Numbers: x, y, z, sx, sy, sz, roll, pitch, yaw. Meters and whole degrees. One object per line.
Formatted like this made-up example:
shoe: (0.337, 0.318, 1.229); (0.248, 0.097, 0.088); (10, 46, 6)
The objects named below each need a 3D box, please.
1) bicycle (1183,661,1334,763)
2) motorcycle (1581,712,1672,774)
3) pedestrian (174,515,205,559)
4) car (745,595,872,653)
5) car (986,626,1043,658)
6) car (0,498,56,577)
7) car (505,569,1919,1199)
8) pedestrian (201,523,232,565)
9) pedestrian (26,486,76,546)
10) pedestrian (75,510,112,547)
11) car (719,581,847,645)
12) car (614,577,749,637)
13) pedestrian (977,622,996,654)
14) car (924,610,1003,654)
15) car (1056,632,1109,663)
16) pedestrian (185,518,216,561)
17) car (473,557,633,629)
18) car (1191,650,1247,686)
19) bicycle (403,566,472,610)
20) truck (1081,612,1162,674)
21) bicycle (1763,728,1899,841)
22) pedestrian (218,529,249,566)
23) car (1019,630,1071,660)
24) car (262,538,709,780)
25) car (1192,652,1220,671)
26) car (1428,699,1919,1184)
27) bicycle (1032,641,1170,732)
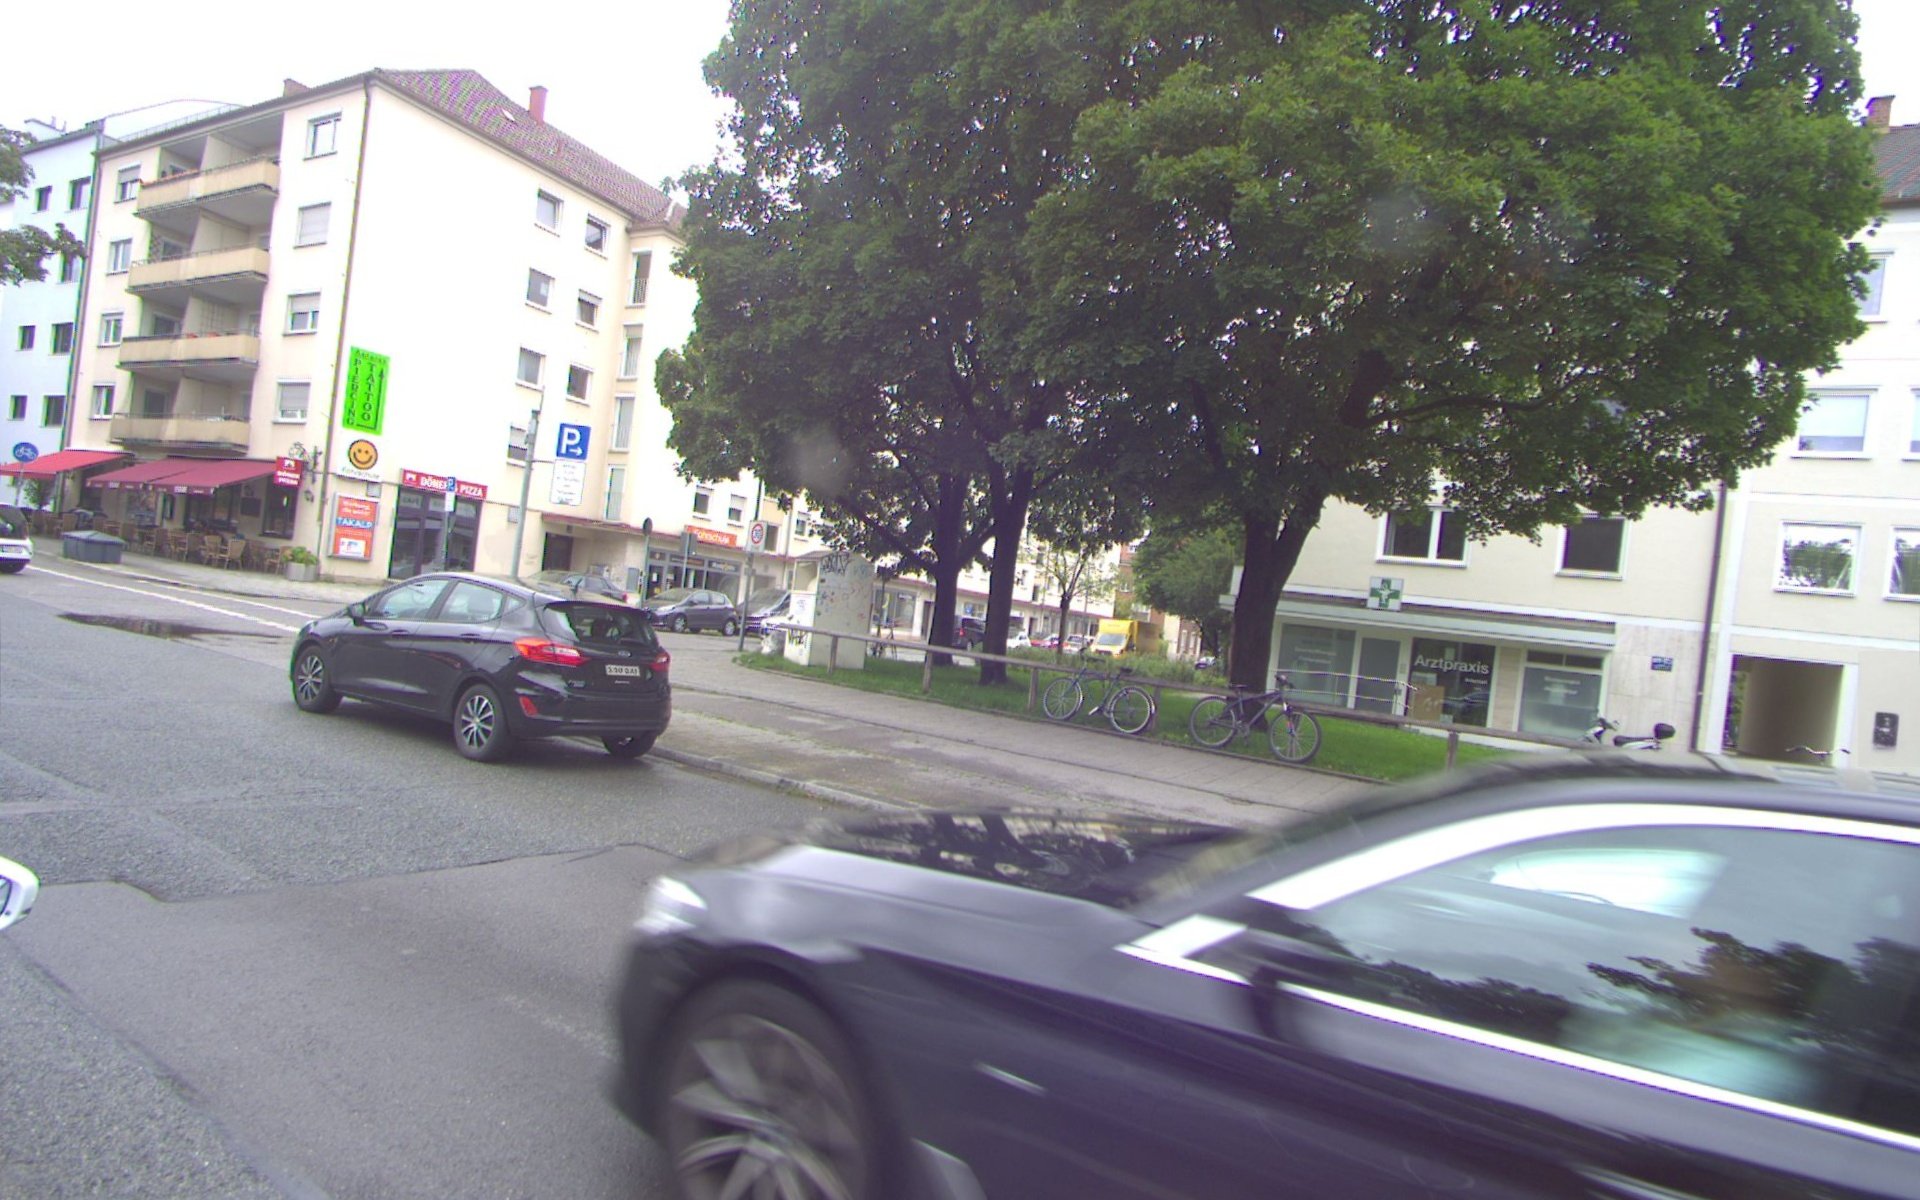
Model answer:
bicycle: (3.902, 1.453, 13.206); (1.738, 1.067, 0.470); (6, -1, 30)
motorcycle: (15.159, 3.243, 22.930); (1.595, 1.133, 0.605); (7, 0, 32)
pedestrian: (-25.424, -2.080, 33.199); (0.543, 1.355, 0.539); (7, 0, 30)
car: (-5.057, 0.852, 34.196); (1.966, 1.459, 4.217); (7, -1, 30)
car: (3.133, 2.421, 57.215); (1.573, 1.459, 3.764); (7, -1, 29)
car: (-20.566, -1.466, 19.979); (3.378, 1.507, 1.689); (8, -1, -11)
car: (1.406, 1.002, 2.081); (4.612, 1.493, 1.826); (7, -3, 31)
pedestrian: (-23.692, -1.788, 32.059); (0.479, 1.229, 0.539); (7, 0, 31)
pedestrian: (-32.083, -2.950, 35.512); (0.747, 1.952, 0.871); (7, 0, 15)
pedestrian: (-30.645, -2.525, 35.589); (0.636, 1.177, 0.745); (7, 0, 31)
car: (-6.673, 0.546, 38.515); (1.966, 1.907, 4.994); (7, -1, 29)
car: (-9.135, 0.272, 33.282); (1.966, 1.459, 3.996); (7, -1, 29)
pedestrian: (1.353, 1.945, 51.506); (0.486, 1.551, 0.733); (7, 0, 30)
car: (0.260, 1.720, 52.055); (2.117, 1.806, 4.999); (7, -1, 24)
car: (7.087, 2.759, 57.821); (1.573, 1.459, 3.764); (7, -1, 29)
pedestrian: (-24.545, -1.953, 32.498); (0.478, 1.283, 0.539); (7, 0, 30)
car: (-11.565, -0.161, 28.825); (1.701, 1.537, 3.934); (7, -1, 29)
car: (12.993, 3.417, 50.370); (1.769, 1.459, 3.472); (7, -1, 29)
bicycle: (-14.492, -0.328, 27.936); (0.545, 1.023, 1.541); (7, -1, 34)
truck: (8.809, 2.372, 54.177); (2.236, 2.803, 6.765); (7, -1, 26)
bicycle: (10.514, 2.182, 12.228); (0.652, 1.080, 2.032); (7, -1, 26)
pedestrian: (-22.473, -1.625, 31.122); (0.479, 1.066, 0.539); (7, 0, 31)
car: (5.176, 2.773, 61.034); (1.573, 1.459, 3.764); (7, -1, 29)
car: (-4.374, 0.455, 9.141); (3.889, 1.494, 1.647); (7, -1, 31)
car: (23.960, 6.004, 97.928); (1.573, 1.459, 3.764); (7, -1, 29)
car: (4.340, 1.465, 3.999); (4.216, 1.452, 1.826); (7, -3, 31)
bicycle: (2.007, 1.220, 14.444); (1.822, 1.027, 0.448); (7, 0, 32)
